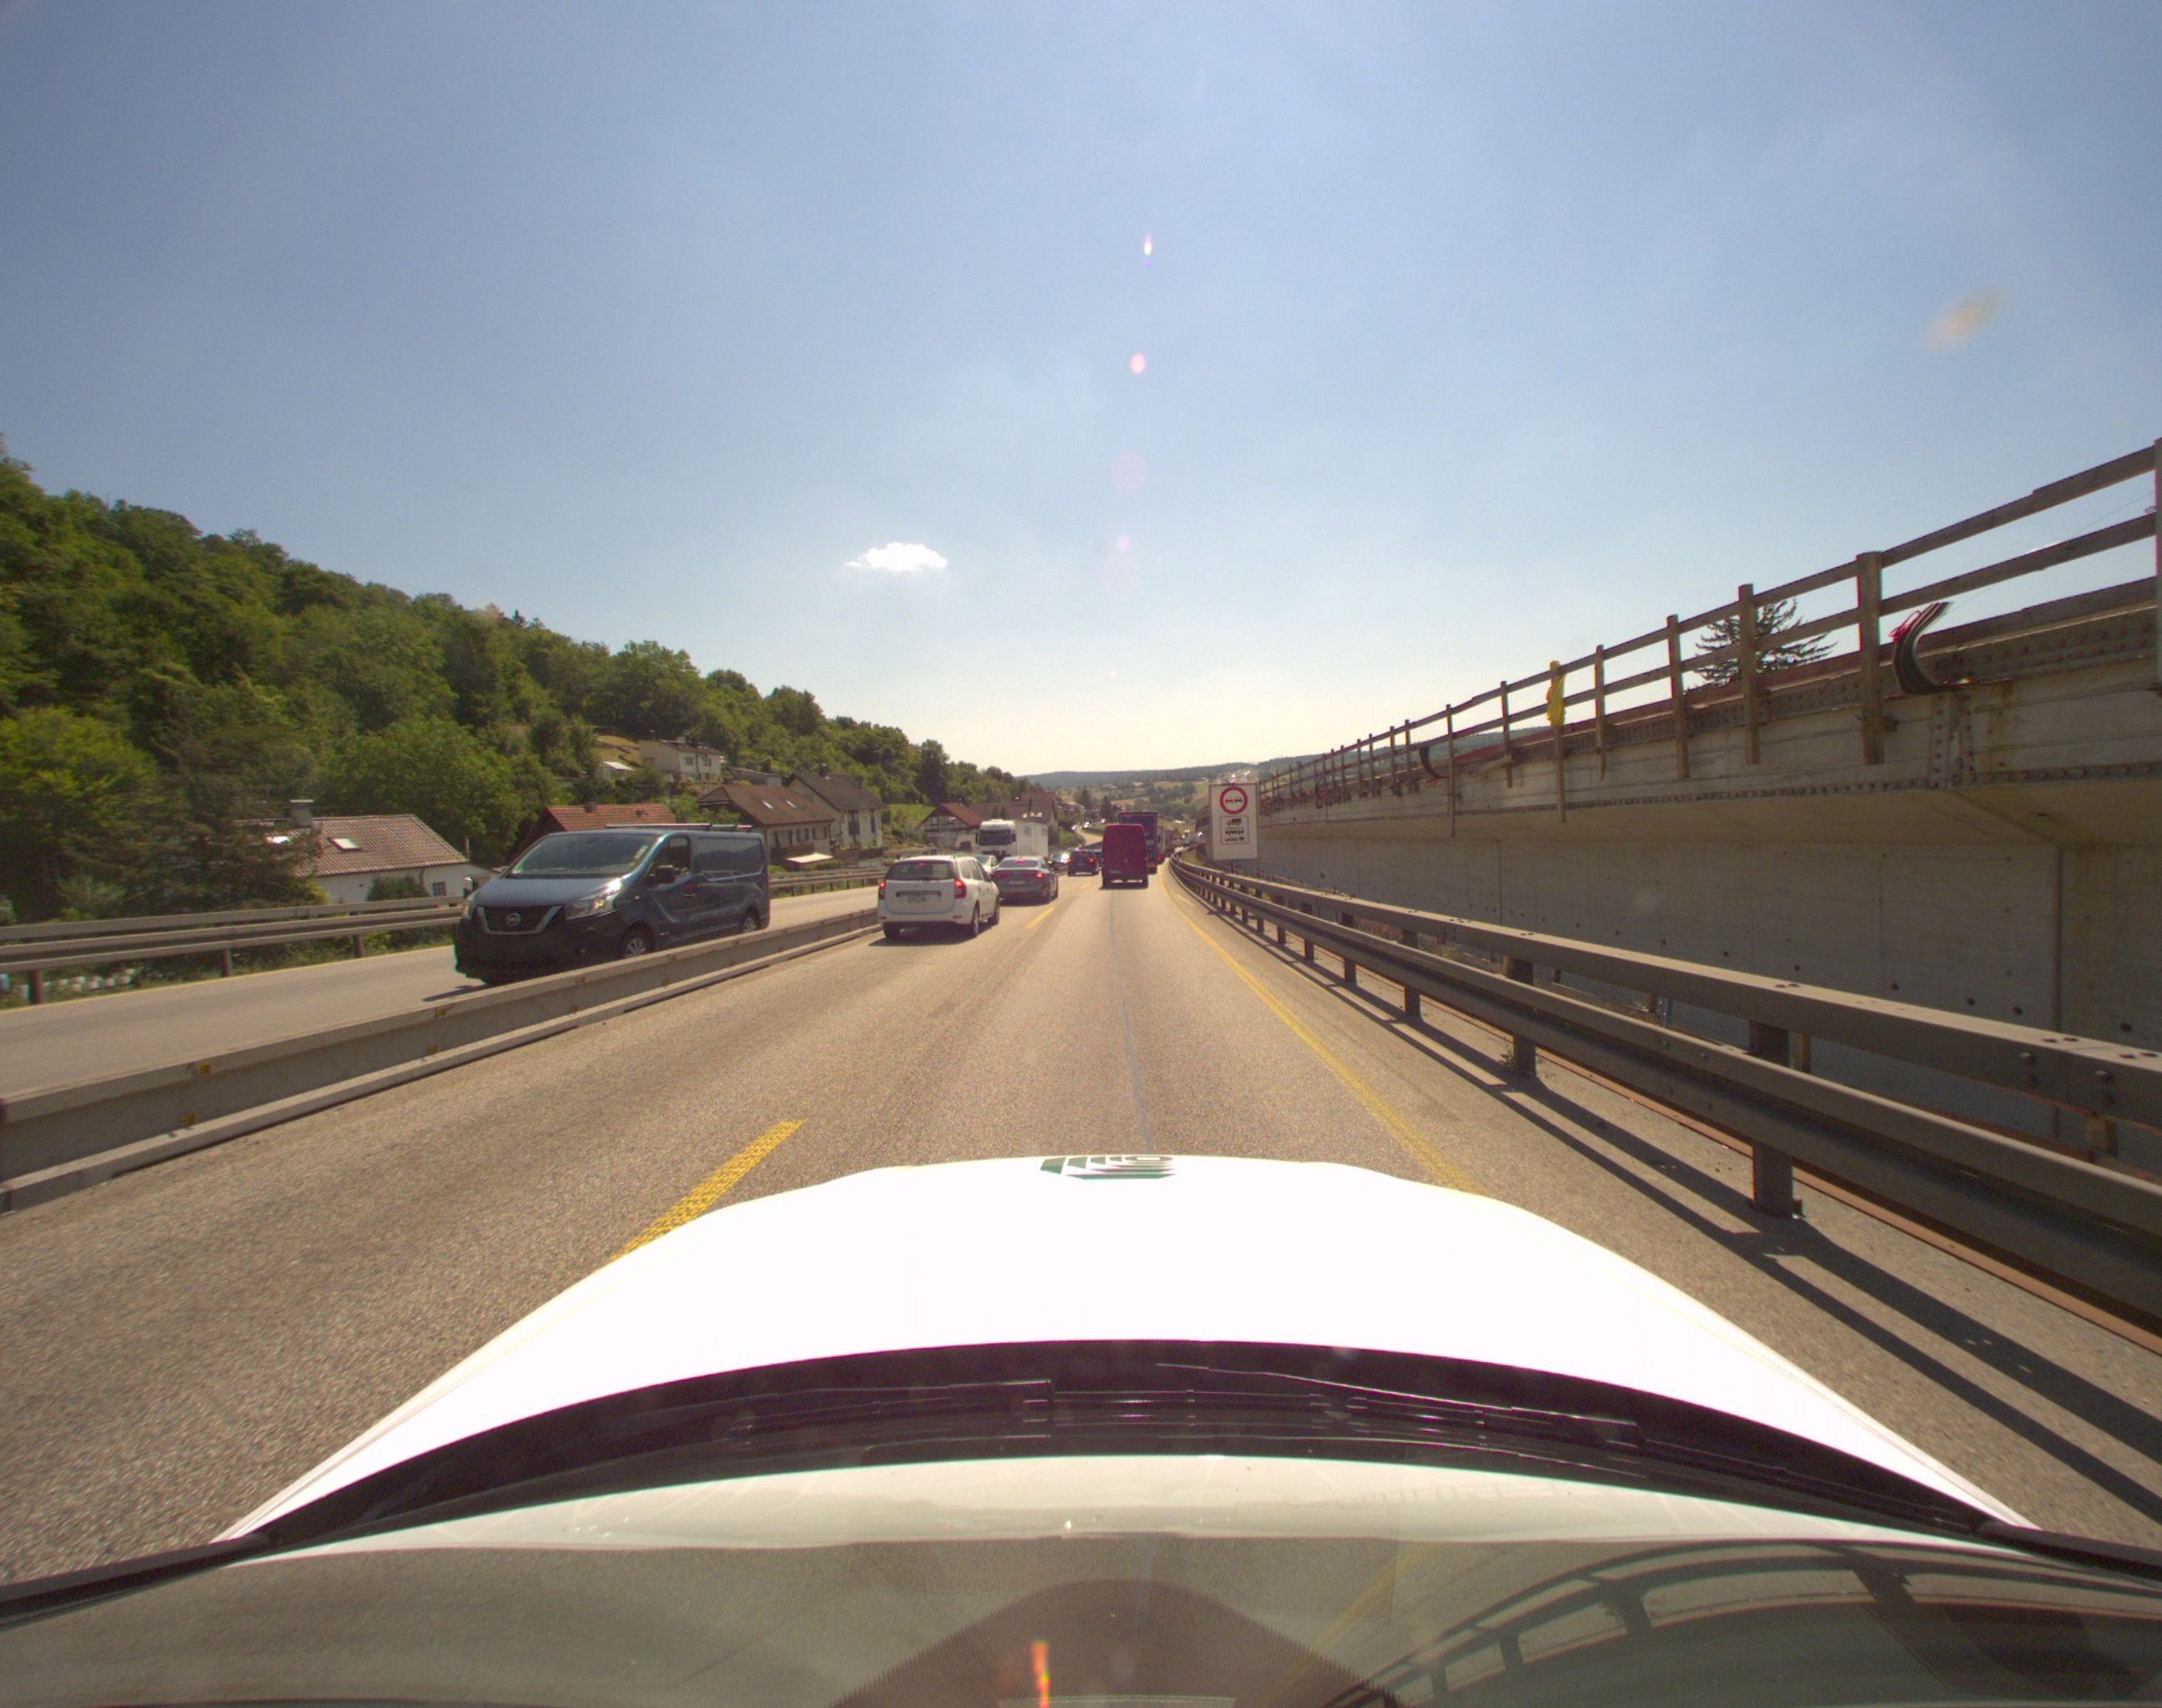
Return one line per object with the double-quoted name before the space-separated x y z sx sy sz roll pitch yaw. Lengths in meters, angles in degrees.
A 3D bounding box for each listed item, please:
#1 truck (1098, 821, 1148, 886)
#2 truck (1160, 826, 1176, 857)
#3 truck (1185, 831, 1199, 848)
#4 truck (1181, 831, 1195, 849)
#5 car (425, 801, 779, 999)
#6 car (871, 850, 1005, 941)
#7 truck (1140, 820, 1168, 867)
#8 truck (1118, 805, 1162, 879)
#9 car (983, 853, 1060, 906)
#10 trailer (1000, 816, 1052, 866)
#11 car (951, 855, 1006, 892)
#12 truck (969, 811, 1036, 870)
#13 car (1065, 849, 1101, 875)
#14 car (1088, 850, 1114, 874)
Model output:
"truck" 1.879 0.008 35.190 1.984 2.578 4.005 -1 -1 5
"truck" 12.819 -1.830 120.153 1.981 4.381 4.011 -1 -1 10
"truck" 31.354 -3.957 229.427 3.445 4.381 8.581 -1 -1 11
"truck" 27.460 -3.454 208.632 3.050 4.381 8.581 -1 -1 11
"car" -6.263 0.550 11.519 1.986 2.173 4.834 -1 -1 2
"car" -2.661 0.738 16.146 1.645 1.483 4.269 -3 -1 3
"truck" 7.971 -0.989 88.966 2.772 4.816 9.699 -1 -1 5
"truck" 4.324 -0.727 58.226 2.772 4.816 9.699 -1 -1 5
"car" -1.755 0.727 25.375 1.787 1.485 4.054 -2 0 4
"trailer" -4.810 -1.095 73.651 2.988 4.165 9.034 -1 0 7
"car" -4.542 0.838 36.619 1.574 1.521 4.160 -1 0 5
"truck" -5.949 -1.014 63.930 2.962 4.162 10.565 -1 0 7
"car" 0.182 0.517 52.216 1.800 1.608 3.726 -1 -1 7
"car" 1.620 0.664 65.161 1.721 1.838 4.006 -1 -1 6
